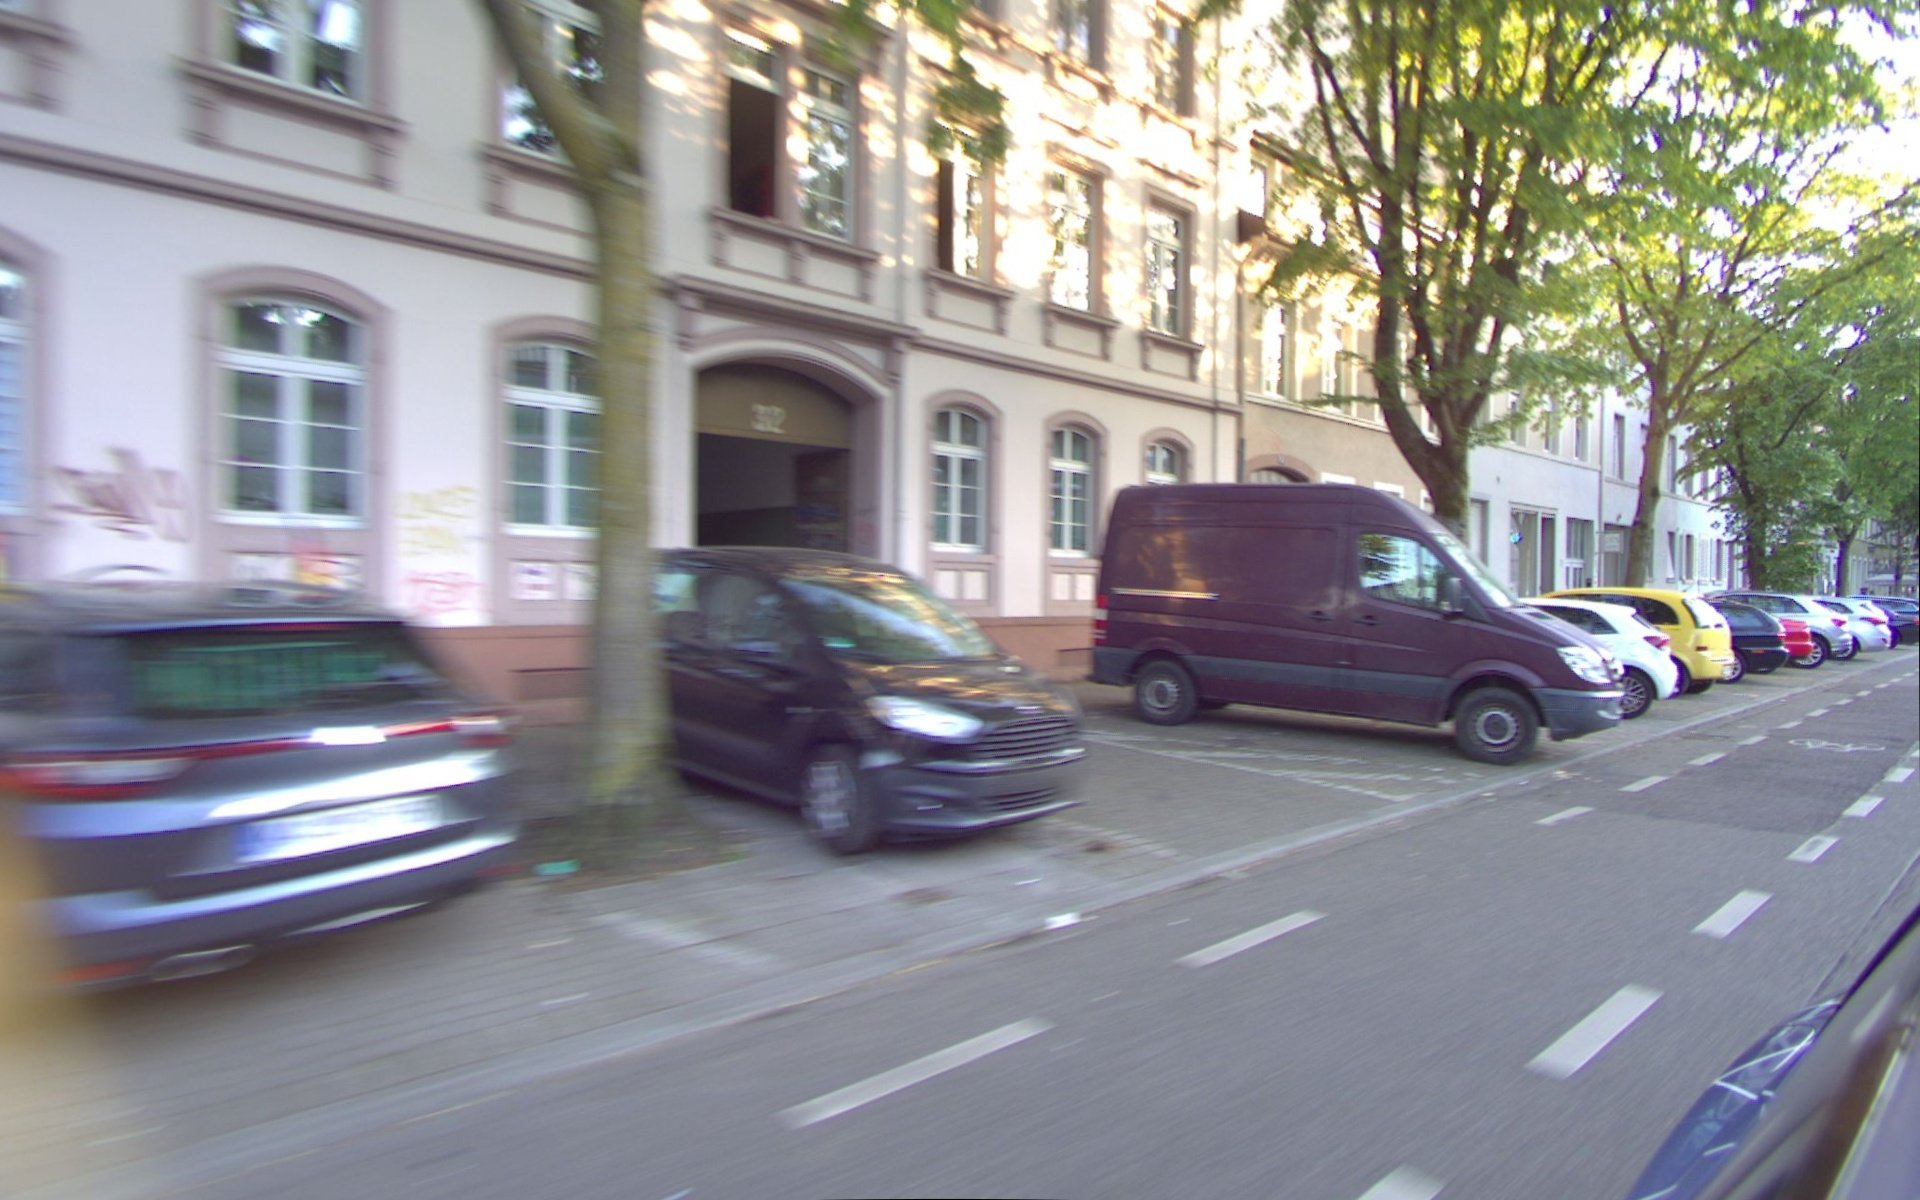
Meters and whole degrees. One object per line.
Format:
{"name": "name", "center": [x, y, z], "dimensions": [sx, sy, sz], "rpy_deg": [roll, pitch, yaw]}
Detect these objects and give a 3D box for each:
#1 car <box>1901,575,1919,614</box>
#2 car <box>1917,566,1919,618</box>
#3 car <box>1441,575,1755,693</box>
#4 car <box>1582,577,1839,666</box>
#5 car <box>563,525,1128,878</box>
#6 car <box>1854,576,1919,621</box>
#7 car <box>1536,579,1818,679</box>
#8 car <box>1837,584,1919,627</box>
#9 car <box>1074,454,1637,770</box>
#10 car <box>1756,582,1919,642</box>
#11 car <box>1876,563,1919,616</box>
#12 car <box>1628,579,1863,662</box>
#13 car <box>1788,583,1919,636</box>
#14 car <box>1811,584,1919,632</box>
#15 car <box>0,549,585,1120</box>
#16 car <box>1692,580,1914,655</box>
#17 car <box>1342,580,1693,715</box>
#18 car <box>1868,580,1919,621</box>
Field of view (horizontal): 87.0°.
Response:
{"name": "car", "center": [51.843, -0.216, 52.609], "dimensions": [3.970, 1.988, 1.700], "rpy_deg": [3, 1, 35]}
{"name": "car", "center": [54.177, -0.381, 54.190], "dimensions": [3.970, 2.863, 1.700], "rpy_deg": [3, 1, 35]}
{"name": "car", "center": [10.290, 0.459, 16.578], "dimensions": [1.691, 1.618, 3.992], "rpy_deg": [1, 1, -39]}
{"name": "car", "center": [15.512, 0.384, 21.102], "dimensions": [1.691, 1.595, 3.992], "rpy_deg": [1, 1, -39]}
{"name": "car", "center": [-1.005, 0.423, 6.937], "dimensions": [3.984, 1.720, 1.694], "rpy_deg": [3, 1, 44]}
{"name": "car", "center": [41.399, -0.035, 43.666], "dimensions": [3.970, 1.863, 1.700], "rpy_deg": [3, 1, 35]}
{"name": "car", "center": [13.330, 0.458, 19.009], "dimensions": [1.691, 1.595, 3.992], "rpy_deg": [1, 1, -39]}
{"name": "car", "center": [37.084, 0.233, 39.567], "dimensions": [3.970, 1.595, 1.700], "rpy_deg": [3, 1, 35]}
{"name": "car", "center": [3.985, -0.012, 10.737], "dimensions": [5.196, 2.653, 1.905], "rpy_deg": [3, 2, 34]}
{"name": "car", "center": [26.330, 0.322, 30.116], "dimensions": [3.970, 1.595, 1.700], "rpy_deg": [3, 1, 35]}
{"name": "car", "center": [48.456, -0.489, 50.376], "dimensions": [1.691, 2.598, 3.991], "rpy_deg": [1, 1, -40]}
{"name": "car", "center": [17.363, 0.398, 22.584], "dimensions": [3.974, 1.595, 1.698], "rpy_deg": [3, 1, 38]}
{"name": "car", "center": [29.892, 0.303, 33.264], "dimensions": [3.970, 1.595, 1.700], "rpy_deg": [3, 1, 35]}
{"name": "car", "center": [33.453, 0.275, 36.547], "dimensions": [3.970, 1.595, 1.700], "rpy_deg": [3, 1, 35]}
{"name": "car", "center": [-3.690, 0.532, 4.457], "dimensions": [4.092, 1.470, 1.788], "rpy_deg": [3, 1, 35]}
{"name": "car", "center": [20.415, 0.375, 24.753], "dimensions": [3.970, 1.595, 1.700], "rpy_deg": [3, 1, 35]}
{"name": "car", "center": [7.518, 0.544, 13.896], "dimensions": [3.966, 1.504, 1.702], "rpy_deg": [3, 1, 33]}
{"name": "car", "center": [44.153, 0.057, 46.043], "dimensions": [3.970, 1.792, 1.700], "rpy_deg": [3, 1, 35]}
